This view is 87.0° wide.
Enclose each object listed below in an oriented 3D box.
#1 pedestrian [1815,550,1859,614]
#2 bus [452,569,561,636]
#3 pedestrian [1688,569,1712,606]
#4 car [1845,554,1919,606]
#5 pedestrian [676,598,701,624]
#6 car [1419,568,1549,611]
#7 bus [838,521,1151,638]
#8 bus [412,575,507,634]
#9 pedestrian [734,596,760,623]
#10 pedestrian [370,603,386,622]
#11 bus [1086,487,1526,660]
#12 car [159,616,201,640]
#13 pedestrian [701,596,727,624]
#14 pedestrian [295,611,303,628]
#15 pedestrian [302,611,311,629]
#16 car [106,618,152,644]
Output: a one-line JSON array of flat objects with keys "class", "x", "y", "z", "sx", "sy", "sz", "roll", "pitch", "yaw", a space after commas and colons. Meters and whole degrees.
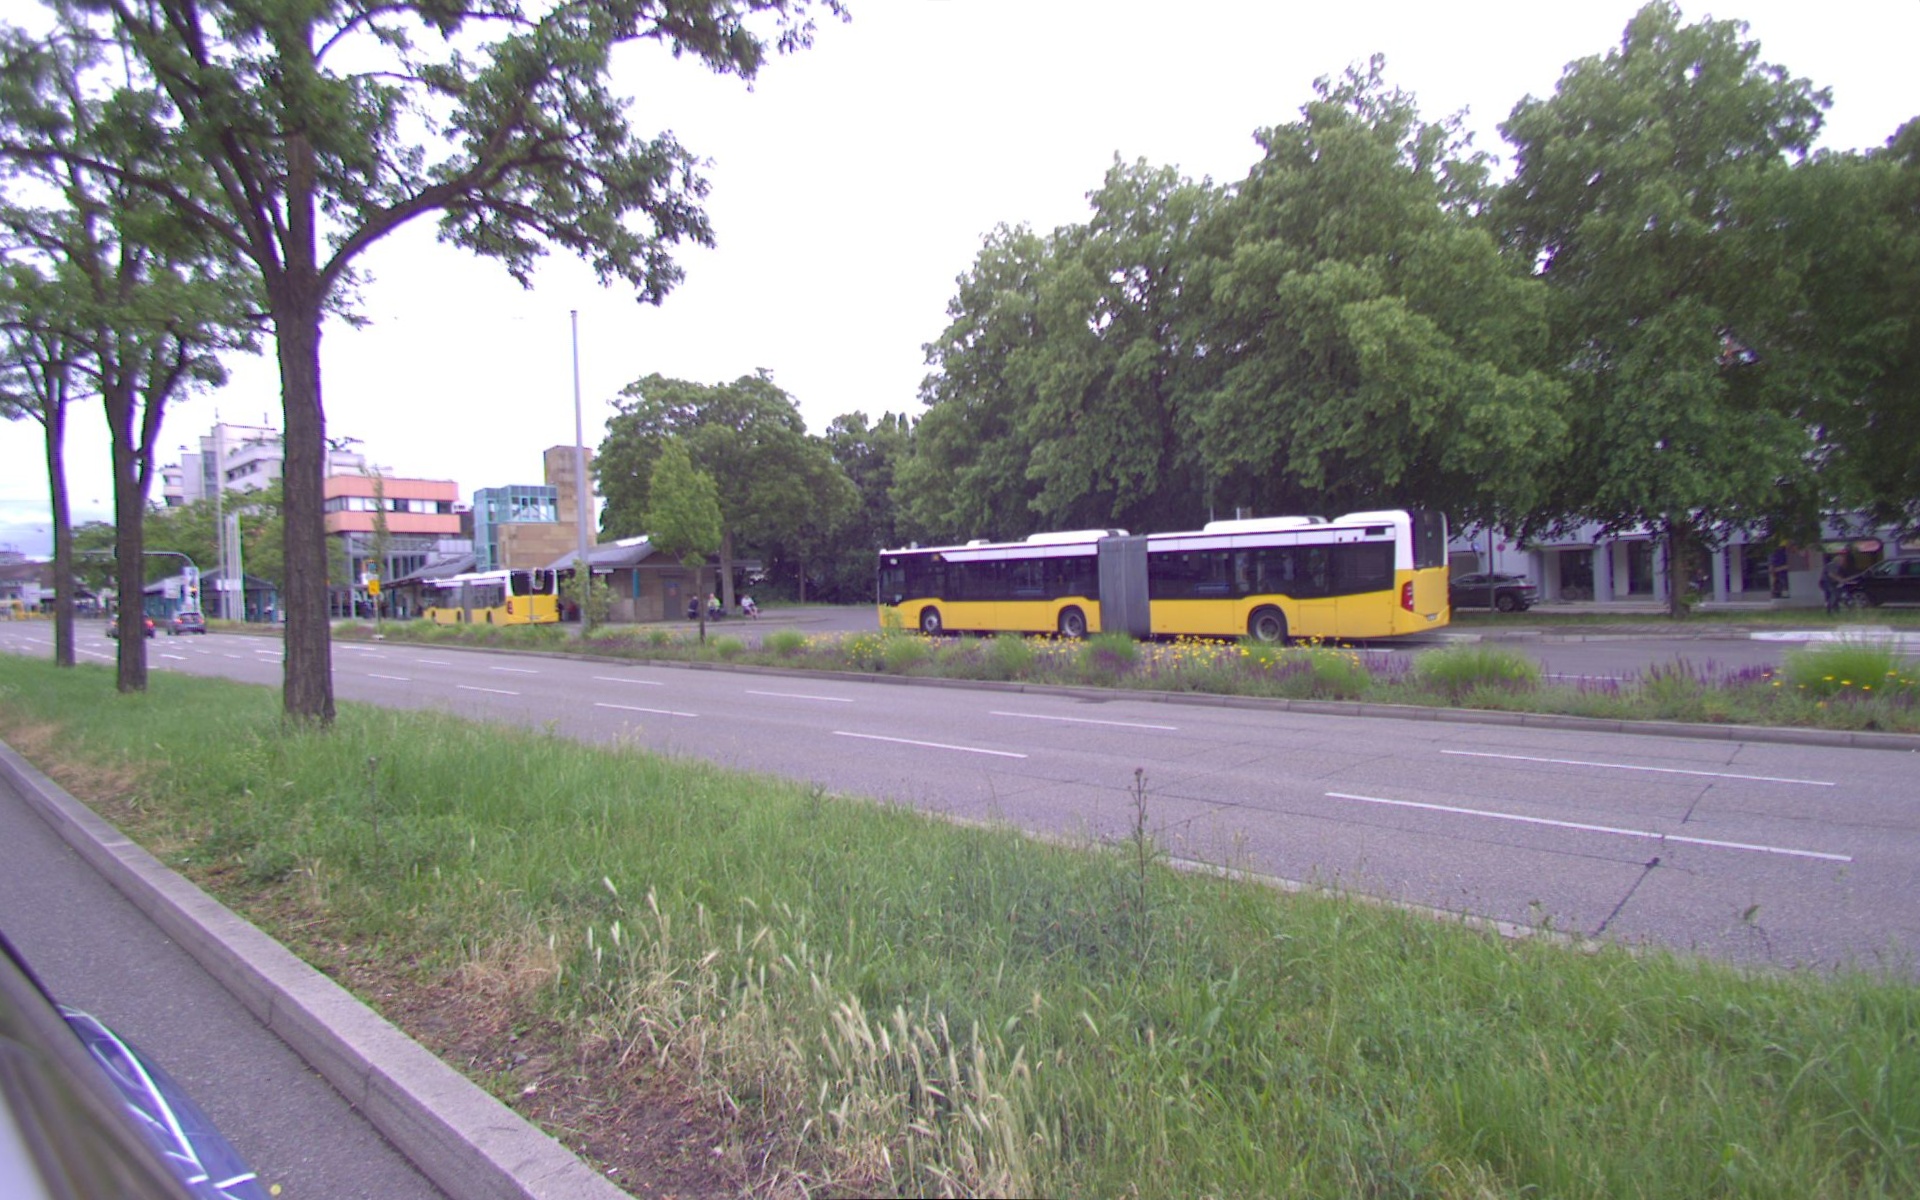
[{"class": "pedestrian", "x": 23.812, "y": -0.494, "z": 27.484, "sx": 0.857, "sy": 1.701, "sz": 0.450, "roll": -2, "pitch": 0, "yaw": 41}, {"class": "bus", "x": -24.294, "y": 0.178, "z": 53.862, "sx": 2.774, "sy": 3.155, "sz": 9.316, "roll": -4, "pitch": 2, "yaw": -39}, {"class": "pedestrian", "x": 31.806, "y": -0.537, "z": 43.487, "sx": 0.649, "sy": 1.559, "sz": 0.668, "roll": -1, "pitch": 0, "yaw": -41}, {"class": "car", "x": 35.804, "y": -0.763, "z": 36.978, "sx": 1.967, "sy": 1.846, "sz": 4.829, "roll": -1, "pitch": 0, "yaw": -34}, {"class": "pedestrian", "x": -13.519, "y": 0.546, "z": 50.445, "sx": 0.887, "sy": 1.264, "sz": 0.854, "roll": -2, "pitch": 0, "yaw": 14}, {"class": "car", "x": 21.233, "y": -0.392, "z": 41.107, "sx": 1.970, "sy": 1.593, "sz": 4.250, "roll": -1, "pitch": 0, "yaw": -44}, {"class": "bus", "x": 0.695, "y": -0.498, "z": 32.316, "sx": 10.742, "sy": 3.186, "sz": 3.049, "roll": -1, "pitch": 0, "yaw": 45}, {"class": "bus", "x": -30.292, "y": 0.313, "z": 60.998, "sx": 2.742, "sy": 3.155, "sz": 9.452, "roll": -4, "pitch": 2, "yaw": -41}, {"class": "pedestrian", "x": -10.432, "y": 0.460, "z": 49.637, "sx": 0.858, "sy": 1.264, "sz": 0.883, "roll": -2, "pitch": 0, "yaw": 43}, {"class": "pedestrian", "x": -48.519, "y": 1.046, "z": 84.376, "sx": 0.977, "sy": 1.472, "sz": 0.592, "roll": -2, "pitch": 1, "yaw": -44}, {"class": "bus", "x": 8.016, "y": -0.518, "z": 25.025, "sx": 2.996, "sy": 3.481, "sz": 9.918, "roll": -4, "pitch": 2, "yaw": -44}, {"class": "car", "x": -52.606, "y": 1.888, "z": 68.234, "sx": 1.794, "sy": 1.519, "sz": 4.004, "roll": -2, "pitch": 0, "yaw": -43}, {"class": "pedestrian", "x": -11.931, "y": 0.493, "z": 49.006, "sx": 0.888, "sy": 1.300, "sz": 0.853, "roll": -2, "pitch": 0, "yaw": 18}, {"class": "pedestrian", "x": -60.465, "y": 1.754, "z": 92.532, "sx": 0.521, "sy": 1.559, "sz": 0.756, "roll": -2, "pitch": 0, "yaw": -32}, {"class": "pedestrian", "x": -60.315, "y": 1.852, "z": 93.398, "sx": 0.382, "sy": 1.559, "sz": 0.479, "roll": -2, "pitch": 0, "yaw": 34}, {"class": "car", "x": -50.433, "y": 1.861, "z": 61.393, "sx": 3.768, "sy": 1.519, "sz": 1.641, "roll": -1, "pitch": 0, "yaw": 43}]
